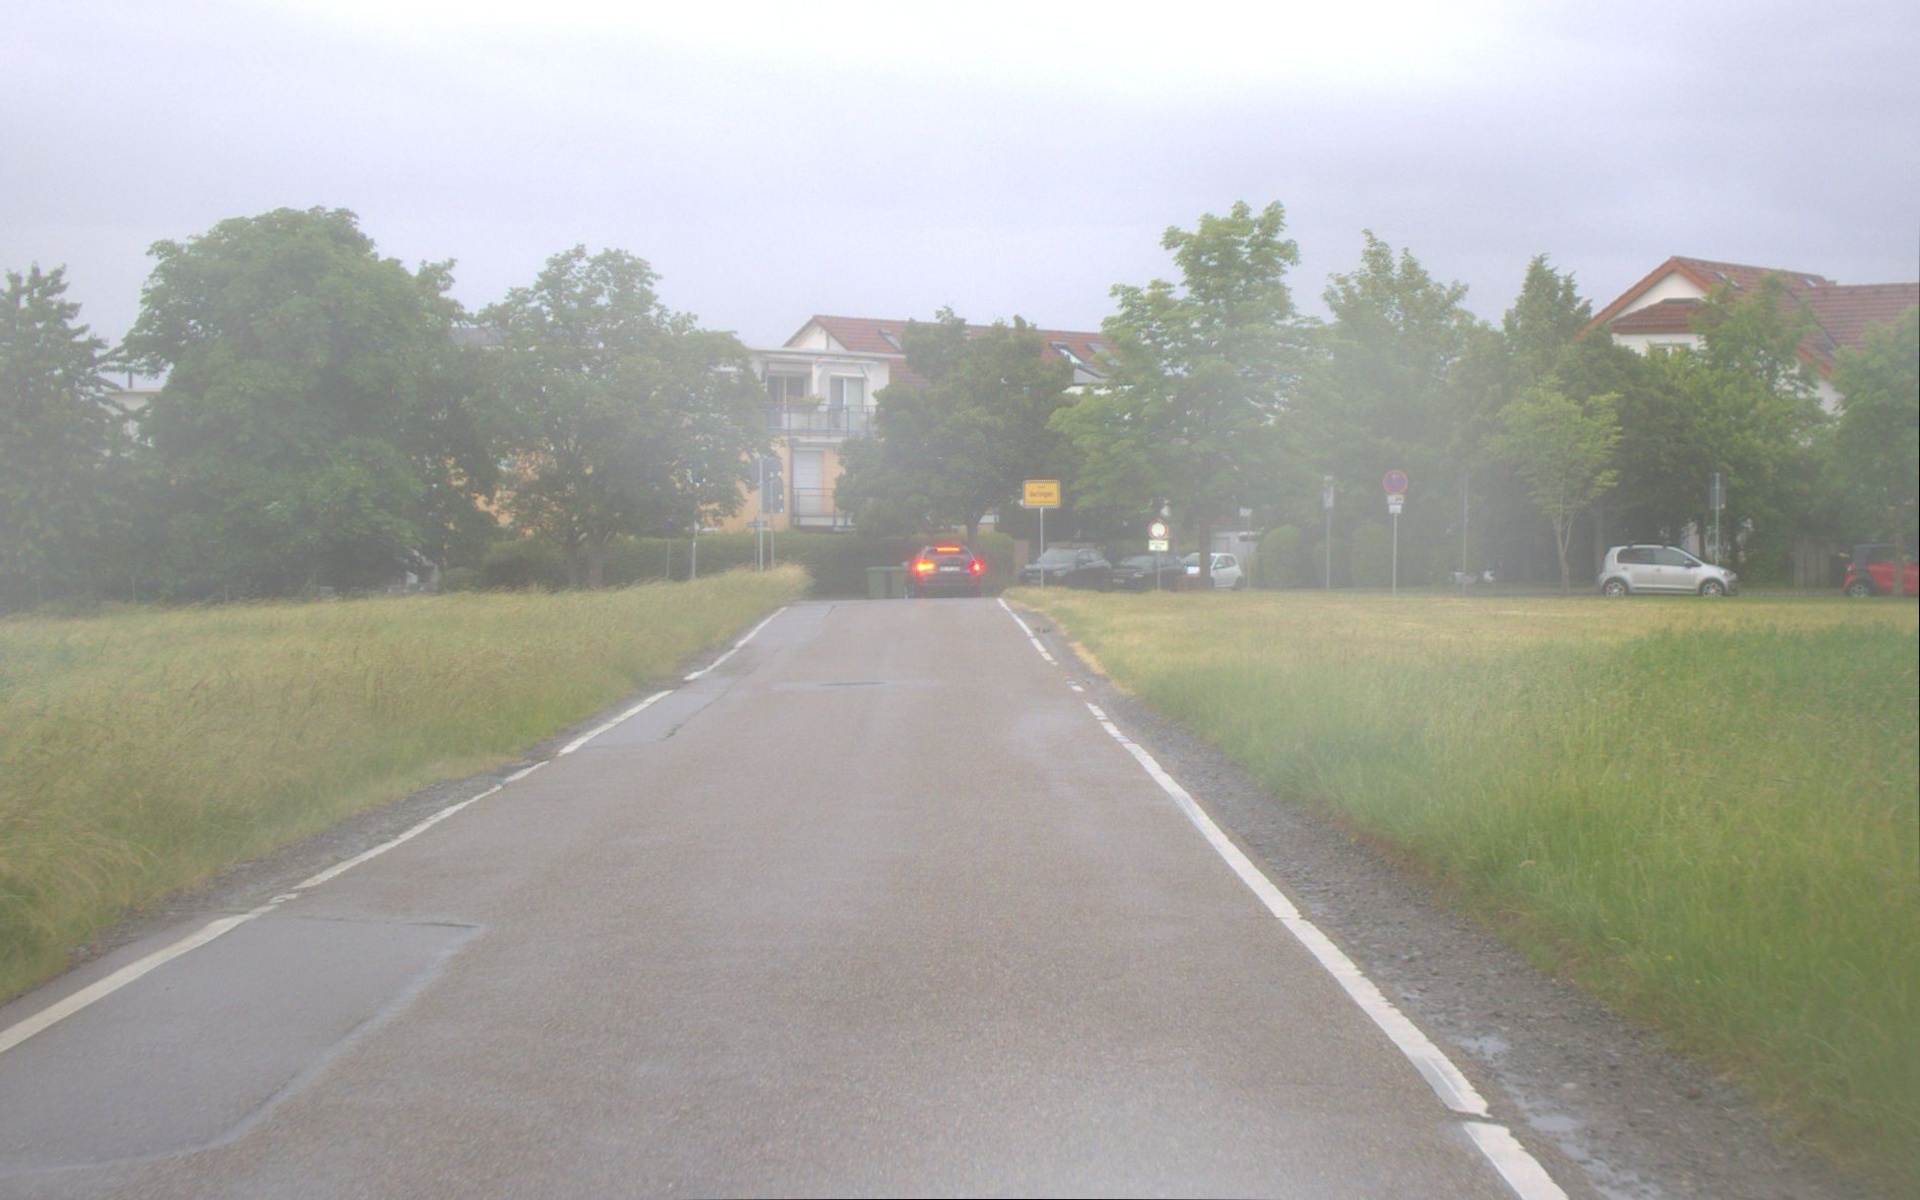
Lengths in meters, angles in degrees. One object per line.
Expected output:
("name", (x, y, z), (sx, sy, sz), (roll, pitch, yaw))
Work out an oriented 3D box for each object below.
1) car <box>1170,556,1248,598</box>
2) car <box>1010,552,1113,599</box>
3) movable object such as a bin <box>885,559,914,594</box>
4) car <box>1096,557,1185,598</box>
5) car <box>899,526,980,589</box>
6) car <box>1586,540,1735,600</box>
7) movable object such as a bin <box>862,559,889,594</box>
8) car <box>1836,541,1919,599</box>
("car", (9.161, -0.841, 126.261), (1.513, 1.471, 3.268), (3, 1, 31))
("car", (3.465, -0.842, 116.709), (1.778, 1.513, 4.131), (2, 1, 28))
("movable object such as a bin", (-1.852, -0.721, 105.206), (0.695, 1.071, 0.601), (0, 1, 21))
("car", (6.406, -0.795, 121.644), (1.638, 1.404, 3.599), (3, 1, 30))
("car", (-0.549, -1.067, 87.947), (1.686, 1.547, 3.697), (0, 0, -6))
("car", (17.850, -0.757, 87.606), (3.546, 1.474, 1.678), (0, 0, 18))
("movable object such as a bin", (-2.601, -0.724, 105.495), (0.666, 1.070, 0.543), (0, 1, 21))
("car", (23.506, -0.742, 85.965), (3.004, 1.431, 1.552), (1, 0, 17))
